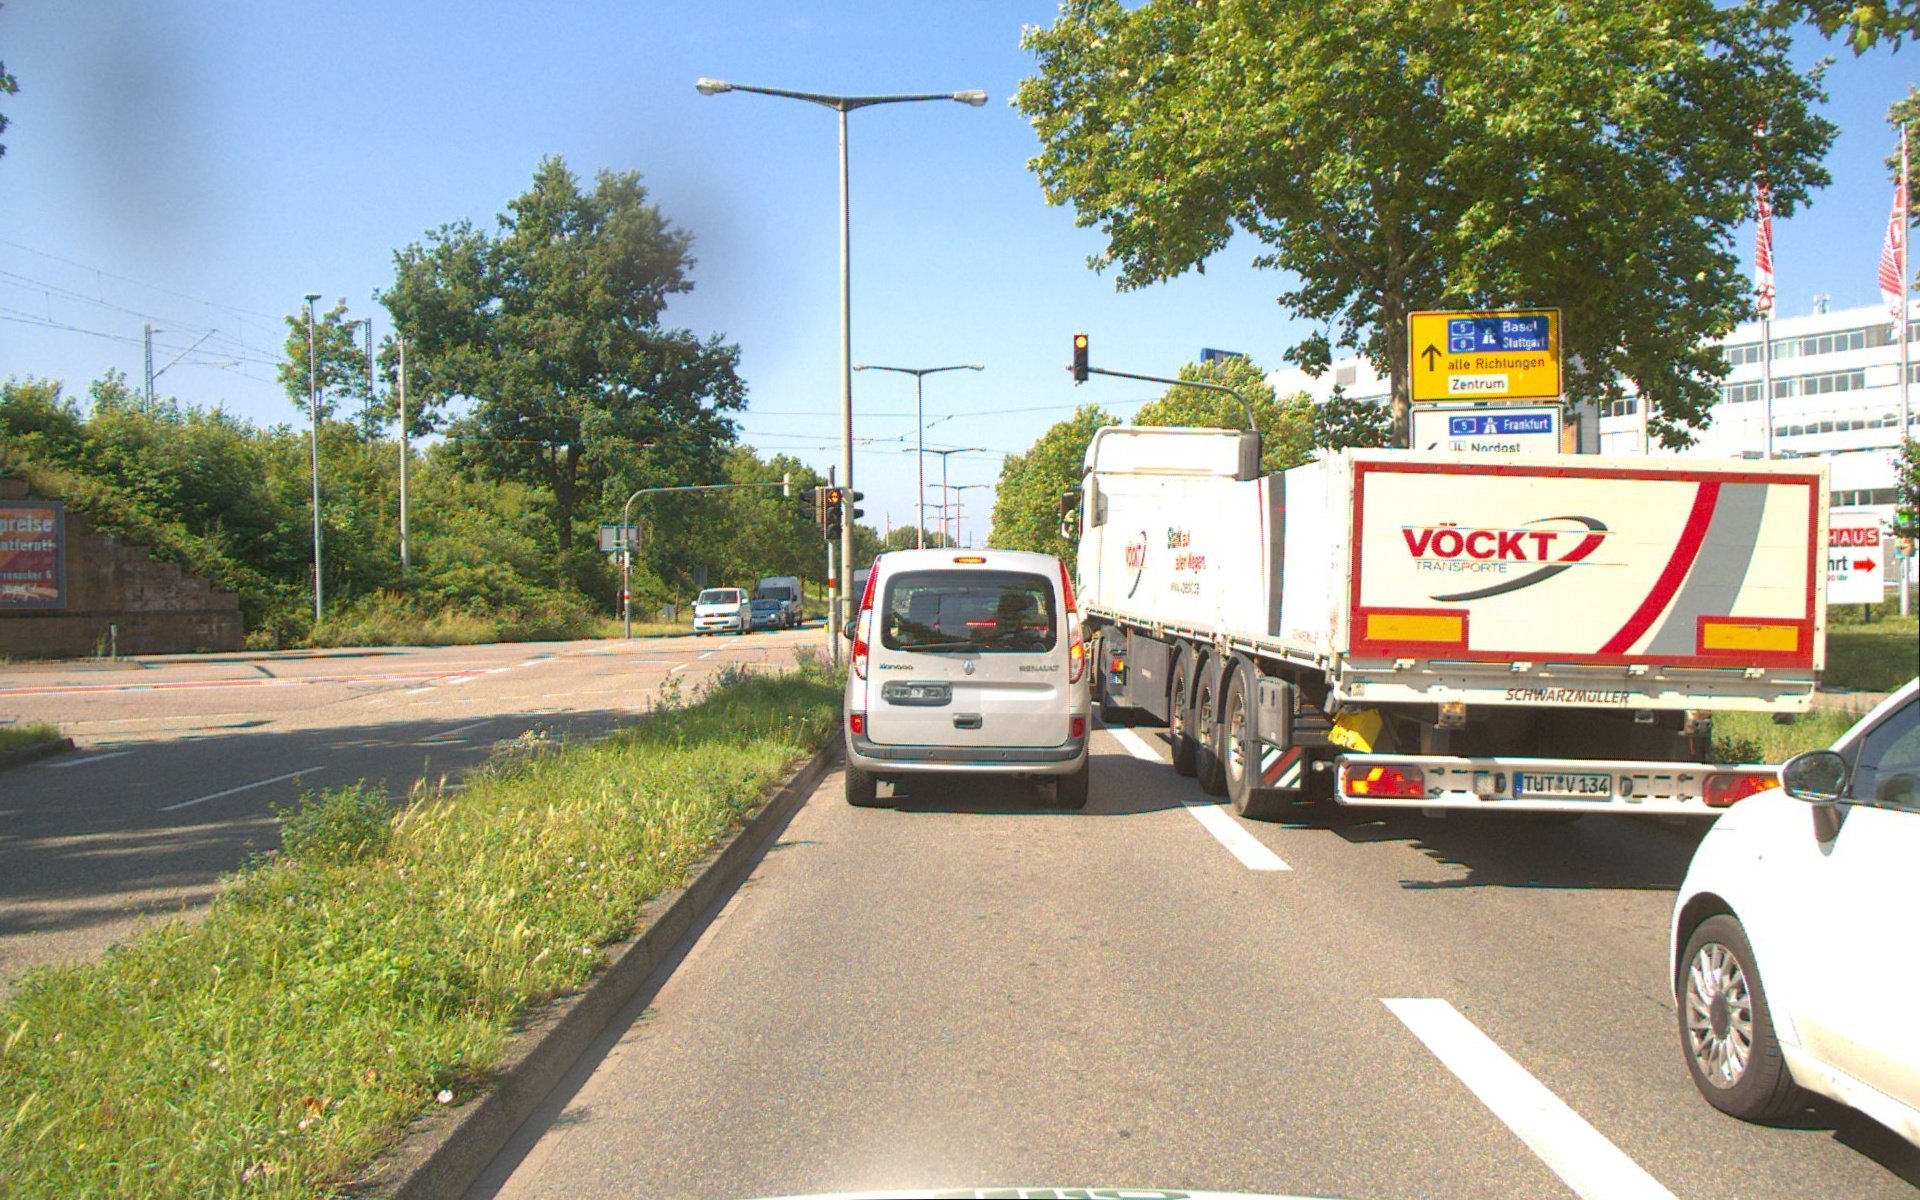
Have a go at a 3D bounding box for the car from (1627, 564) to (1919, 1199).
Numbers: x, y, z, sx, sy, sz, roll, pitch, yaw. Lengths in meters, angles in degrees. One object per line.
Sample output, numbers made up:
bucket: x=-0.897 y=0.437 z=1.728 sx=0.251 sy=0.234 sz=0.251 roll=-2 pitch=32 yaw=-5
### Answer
car: x=3.027 y=0.653 z=3.799 sx=1.627 sy=1.461 sz=3.520 roll=0 pitch=0 yaw=1

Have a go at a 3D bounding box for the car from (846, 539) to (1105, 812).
car: x=0.082 y=0.505 z=12.971 sx=1.713 sy=1.803 sz=3.948 roll=0 pitch=0 yaw=-1

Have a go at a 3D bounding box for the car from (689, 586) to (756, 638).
car: x=-9.514 y=0.477 z=66.595 sx=1.953 sy=1.924 sz=4.986 roll=-3 pitch=0 yaw=-1

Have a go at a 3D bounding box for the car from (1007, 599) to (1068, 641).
car: x=3.143 y=0.803 z=67.741 sx=1.955 sy=1.668 sz=3.995 roll=0 pitch=0 yaw=-6

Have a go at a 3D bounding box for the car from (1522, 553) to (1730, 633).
car: x=14.519 y=-0.153 z=36.228 sx=3.903 sy=1.691 sz=1.724 roll=0 pitch=0 yaw=5

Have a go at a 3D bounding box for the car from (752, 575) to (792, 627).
car: x=-9.892 y=0.049 z=87.304 sx=2.019 sy=2.660 sz=5.861 roll=0 pitch=0 yaw=-6

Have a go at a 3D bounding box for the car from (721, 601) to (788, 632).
car: x=-9.912 y=0.764 z=79.489 sx=1.888 sy=1.433 sz=4.190 roll=0 pitch=0 yaw=-27

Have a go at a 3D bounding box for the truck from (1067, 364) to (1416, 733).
truck: x=3.181 y=-0.533 z=20.983 sx=3.009 sy=3.823 sz=7.474 roll=0 pitch=0 yaw=-1

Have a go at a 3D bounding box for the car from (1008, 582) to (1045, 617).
car: x=4.001 y=-0.037 z=99.882 sx=1.953 sy=2.049 sz=3.999 roll=0 pitch=0 yaw=-1

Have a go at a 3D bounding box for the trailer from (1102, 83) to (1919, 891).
trailer: x=3.208 y=-0.527 z=13.946 sx=2.954 sy=3.806 sz=12.239 roll=0 pitch=0 yaw=0
